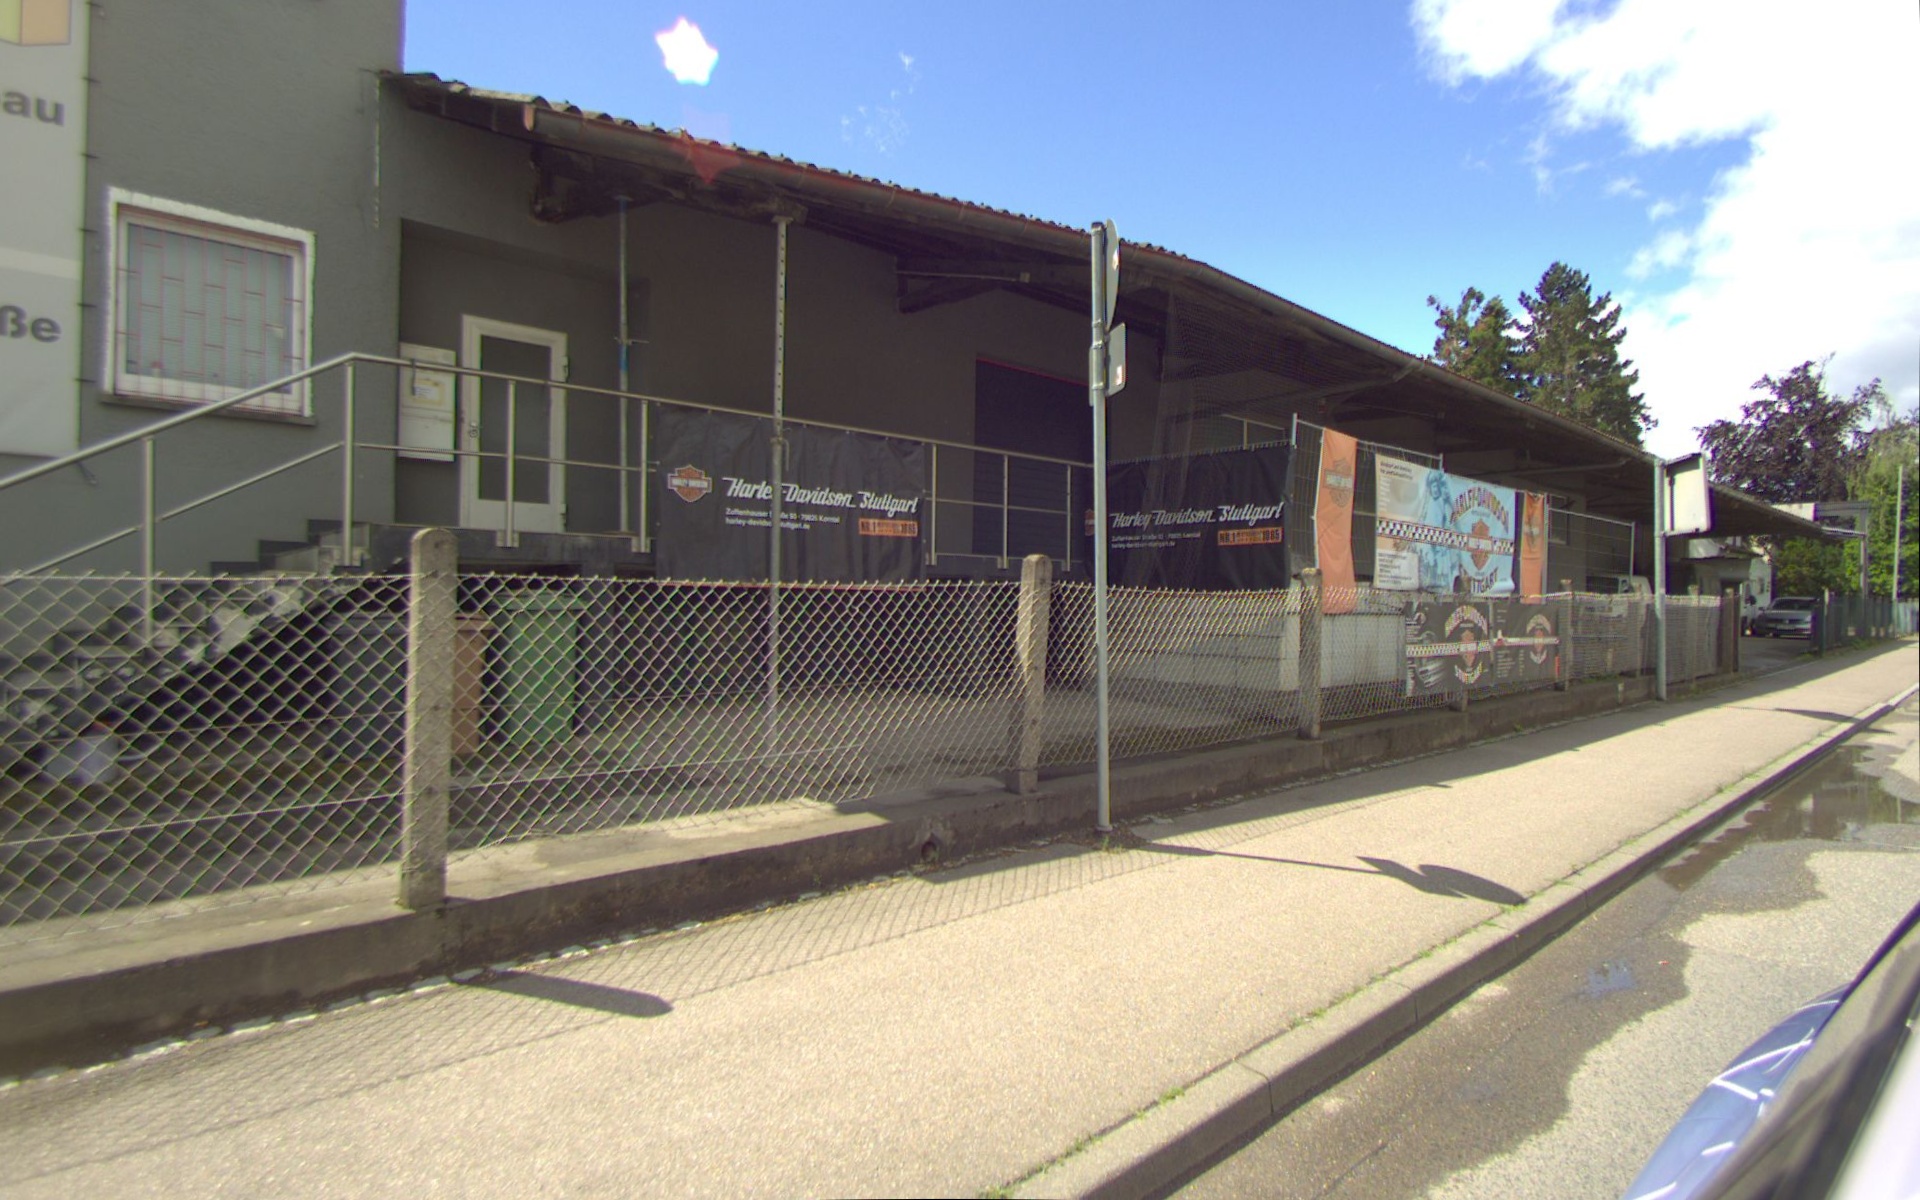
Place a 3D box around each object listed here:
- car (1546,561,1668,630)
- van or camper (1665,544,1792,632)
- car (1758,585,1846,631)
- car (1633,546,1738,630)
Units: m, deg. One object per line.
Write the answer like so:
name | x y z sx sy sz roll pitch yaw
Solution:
car | 19.808 -0.122 30.905 4.770 1.934 1.996 1 0 -43
van or camper | 29.623 -0.440 38.917 6.798 3.099 2.883 0 0 -44
car | 29.631 0.276 35.580 4.842 1.508 1.766 1 0 -43
car | 25.169 -0.342 35.013 5.405 2.715 2.019 2 -1 -44
